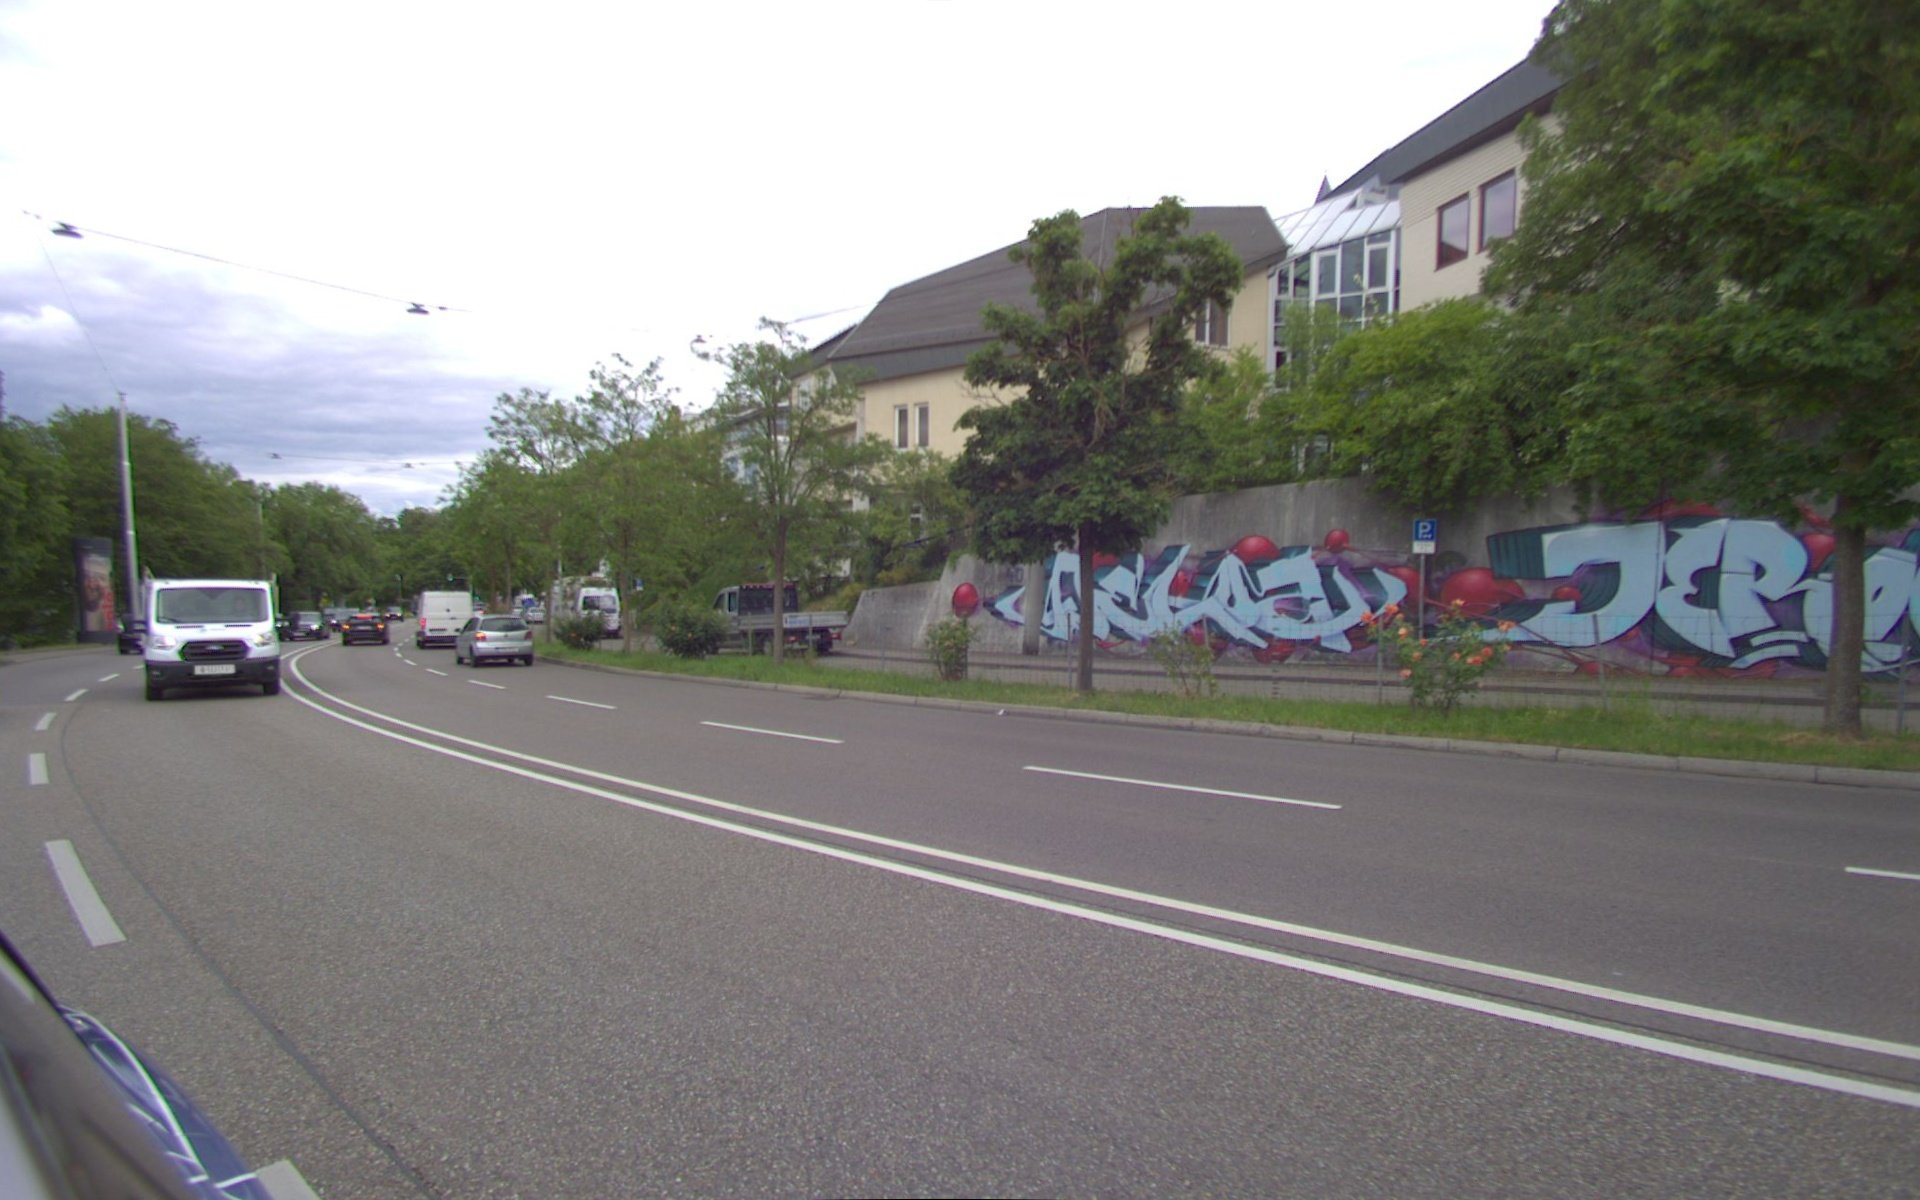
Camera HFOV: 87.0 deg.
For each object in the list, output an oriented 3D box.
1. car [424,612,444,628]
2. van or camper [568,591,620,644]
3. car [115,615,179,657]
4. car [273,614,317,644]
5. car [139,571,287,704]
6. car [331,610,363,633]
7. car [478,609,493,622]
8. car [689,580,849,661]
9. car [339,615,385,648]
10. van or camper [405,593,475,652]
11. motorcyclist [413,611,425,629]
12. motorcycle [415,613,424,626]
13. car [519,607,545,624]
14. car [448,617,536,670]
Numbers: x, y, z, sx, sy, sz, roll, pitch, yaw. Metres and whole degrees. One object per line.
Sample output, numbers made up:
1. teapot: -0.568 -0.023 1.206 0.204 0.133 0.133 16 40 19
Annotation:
1. car: -52.526 1.982 101.133 1.760 1.550 4.089 -1 0 -27
2. van or camper: -18.404 0.852 50.769 1.965 2.491 5.729 0 0 -24
3. car: -30.324 1.310 37.815 1.707 1.421 4.009 -2 0 -37
4. car: -34.429 1.487 52.456 1.708 1.422 4.012 -2 1 -31
5. car: -14.694 0.672 19.731 1.968 2.190 6.279 -1 -1 -40
6. car: -43.695 1.500 72.170 1.701 1.489 4.013 -2 1 -29
7. car: -68.094 2.197 145.124 1.739 1.721 4.886 -2 0 -28
8. car: -6.128 0.601 31.656 2.238 2.290 6.339 0 0 -38
9. car: -27.148 1.405 45.913 1.711 1.425 4.442 0 -1 -32
10. van or camper: -22.052 0.923 42.764 1.981 2.278 5.978 0 -1 -33
11. motorcyclist: -45.356 1.663 84.862 0.749 1.496 0.964 2 -2 -23
12. motorcycle: -45.455 1.640 85.131 0.476 1.064 2.276 0 0 -23
13. car: -37.596 1.329 88.781 1.649 1.439 4.432 2 -1 -28
14. car: -13.653 1.220 29.447 1.680 1.419 3.818 0 -1 -35
